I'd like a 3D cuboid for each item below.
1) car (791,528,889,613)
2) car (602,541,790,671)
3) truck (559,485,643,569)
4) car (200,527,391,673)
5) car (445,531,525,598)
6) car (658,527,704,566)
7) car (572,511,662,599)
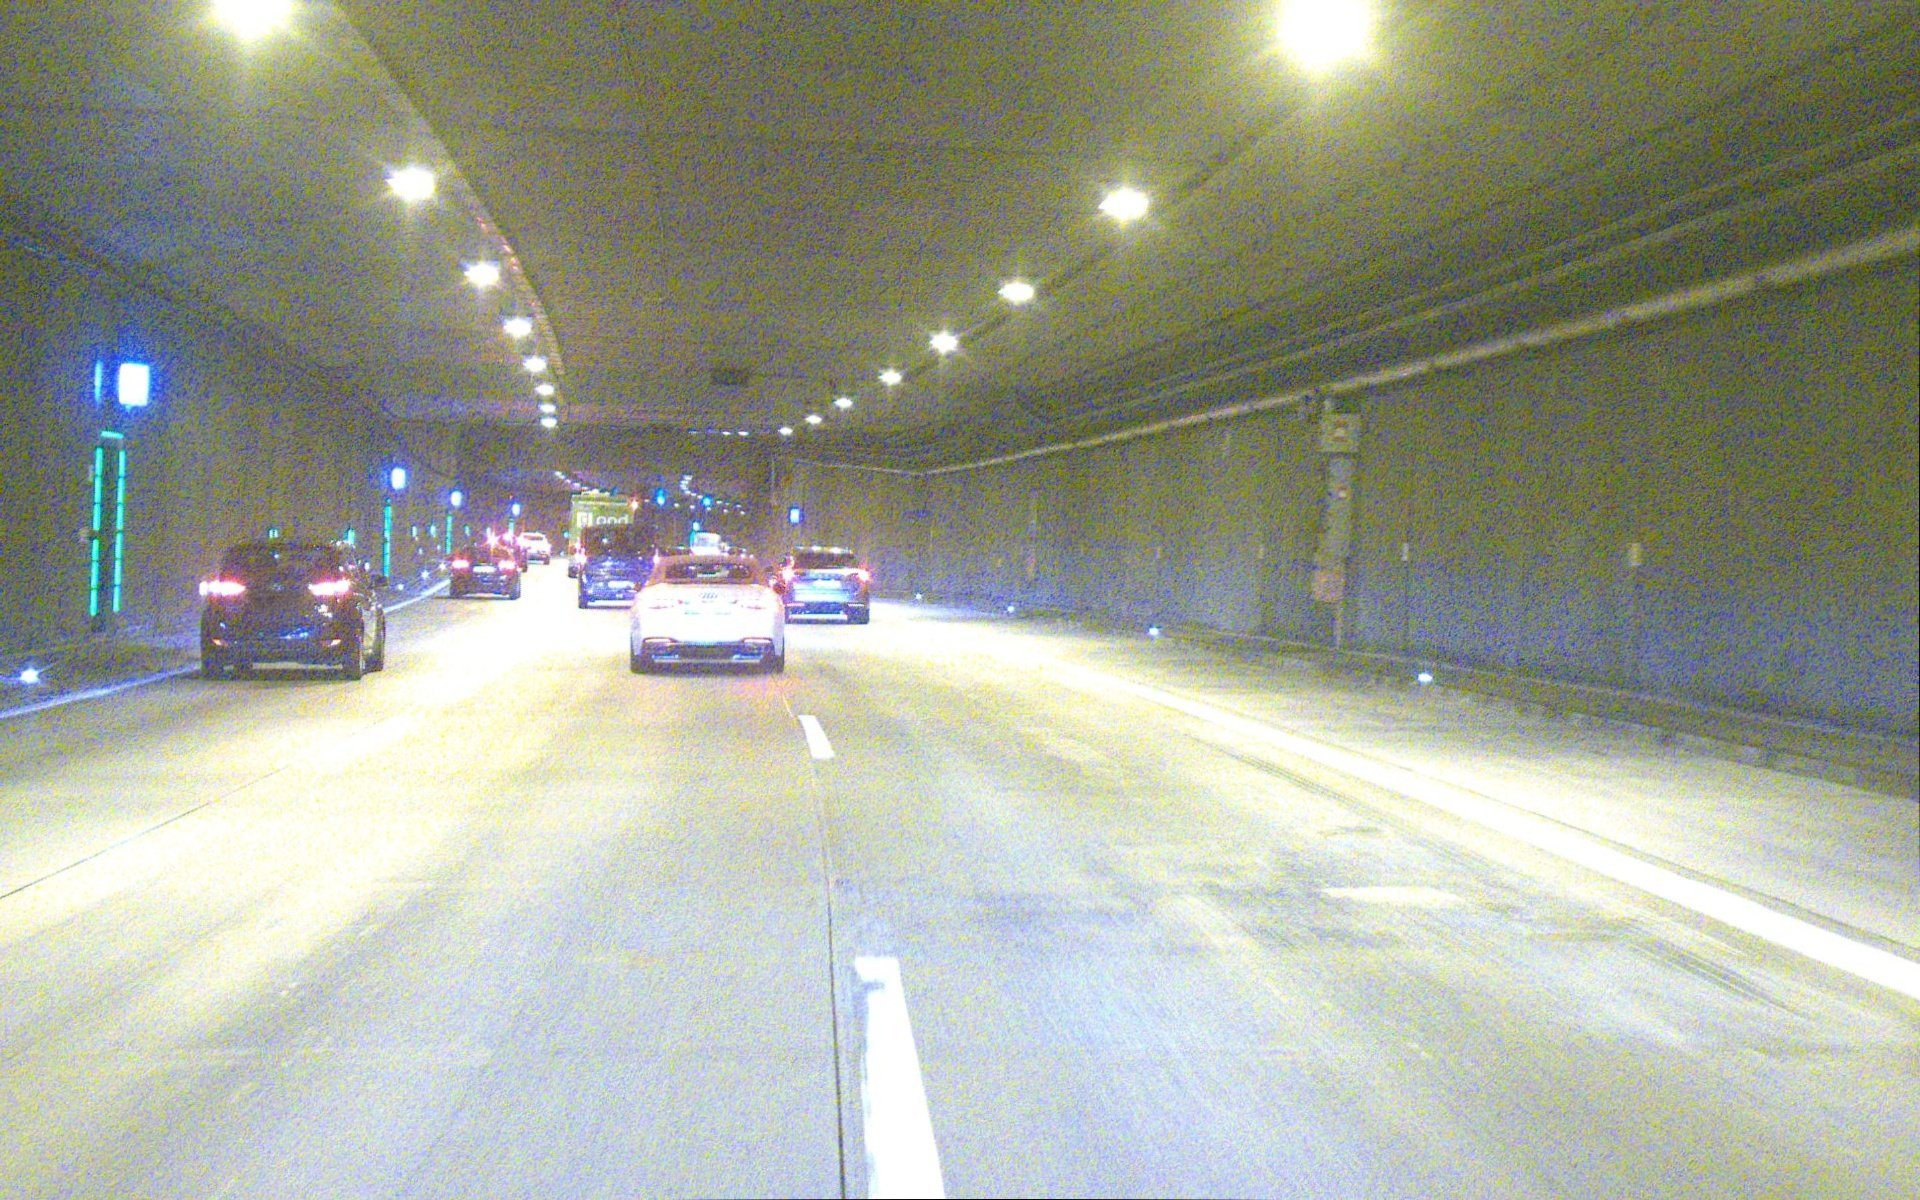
[{"bbox_3d":[-2.373,-0.586,67.134,1.839,1.597,4.001,0,1,-3],"label":"car"},{"bbox_3d":[-3.130,0.040,41.444,1.993,1.478,4.000,0,1,-1],"label":"car"},{"bbox_3d":[-13.971,-2.912,134.458,3.082,3.102,10.031,1,2,-5],"label":"truck"},{"bbox_3d":[-7.549,-0.033,39.315,1.785,1.593,3.802,0,1,-5],"label":"car"},{"bbox_3d":[-12.272,-0.914,88.991,1.800,1.678,4.001,0,1,-4],"label":"car"},{"bbox_3d":[-12.966,-2.477,159.599,1.993,1.748,4.001,1,0,-6],"label":"car"},{"bbox_3d":[-7.900,-1.036,79.542,1.993,1.965,4.001,0,1,-5],"label":"car"}]
